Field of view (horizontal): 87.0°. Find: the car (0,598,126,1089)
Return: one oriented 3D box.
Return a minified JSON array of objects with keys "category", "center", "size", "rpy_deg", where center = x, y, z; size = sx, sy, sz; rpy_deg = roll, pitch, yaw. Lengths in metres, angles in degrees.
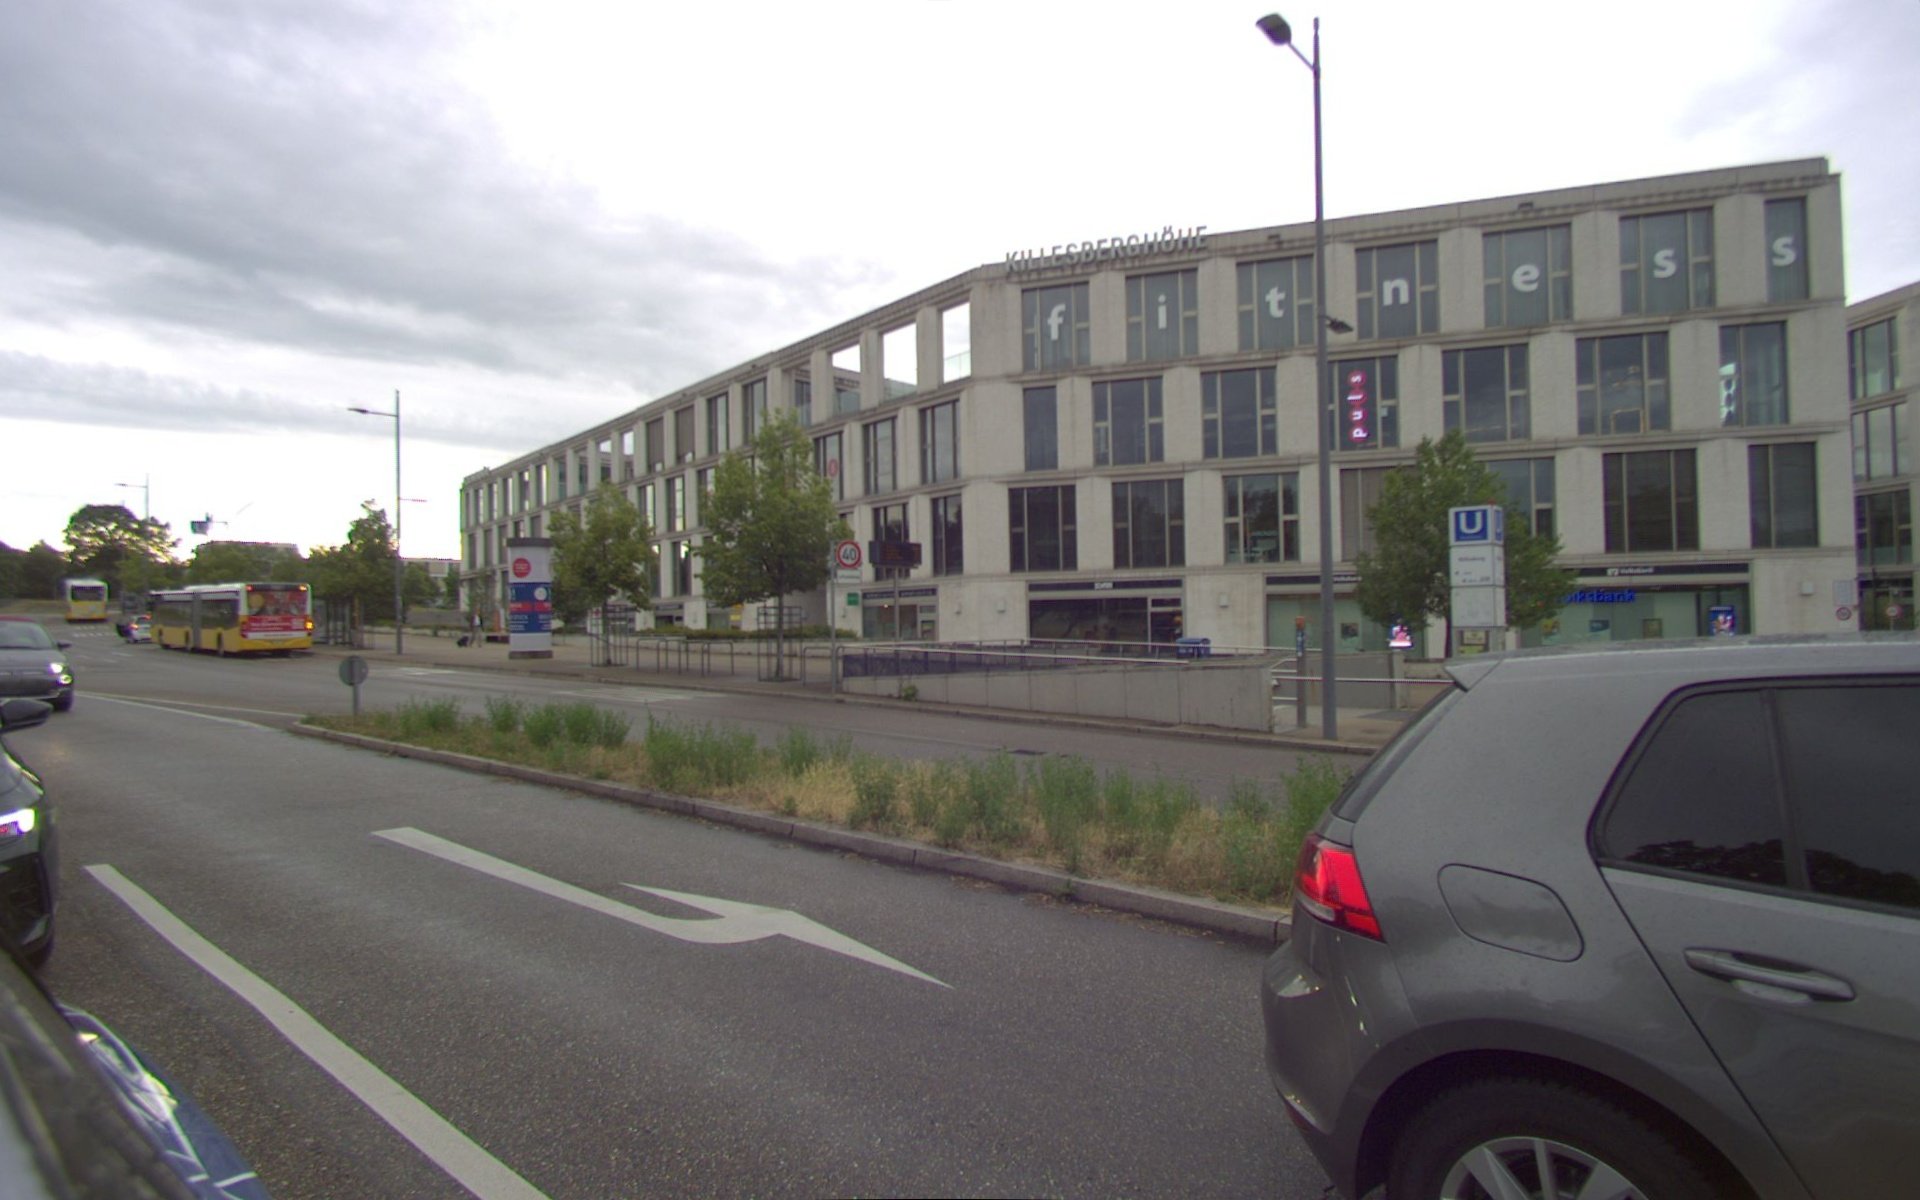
[{"category":"car","center":[-5.104,0.762,4.136],"size":[4.766,1.476,1.877],"rpy_deg":[-1,0,41]}]

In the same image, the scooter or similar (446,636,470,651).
[{"category":"scooter or similar","center":[-22.225,1.936,44.801],"size":[0.832,0.656,0.633],"rpy_deg":[-1,-2,38]}]

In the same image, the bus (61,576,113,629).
[{"category":"bus","center":[-76.442,0.267,88.861],"size":[2.717,4.185,19.383],"rpy_deg":[-1,0,-39]}]

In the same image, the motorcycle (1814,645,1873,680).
[{"category":"motorcycle","center":[20.428,1.437,23.419],"size":[0.517,0.746,1.098],"rpy_deg":[-1,0,9]}]

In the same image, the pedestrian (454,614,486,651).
[{"category":"pedestrian","center":[-21.647,1.431,44.720],"size":[0.981,1.593,0.857],"rpy_deg":[-1,0,33]}]

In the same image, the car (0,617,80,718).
[{"category":"car","center":[-15.635,1.032,16.244],"size":[3.501,1.492,1.611],"rpy_deg":[-1,-1,38]}]

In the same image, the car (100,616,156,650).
[{"category":"car","center":[-47.331,1.836,57.527],"size":[3.998,1.800,1.843],"rpy_deg":[-1,0,41]}]

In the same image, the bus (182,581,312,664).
[{"category":"bus","center":[-31.129,0.919,43.971],"size":[9.206,3.236,2.723],"rpy_deg":[-1,0,43]}]

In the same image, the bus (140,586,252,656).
[{"category":"bus","center":[-38.155,0.988,50.378],"size":[9.911,3.205,2.658],"rpy_deg":[-1,0,42]}]

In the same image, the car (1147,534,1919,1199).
[{"category":"car","center":[2.631,0.652,1.451],"size":[4.376,1.492,1.796],"rpy_deg":[-1,-2,42]}]

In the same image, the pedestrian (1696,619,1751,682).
[{"category":"pedestrian","center":[19.732,1.291,26.186],"size":[0.907,1.617,0.760],"rpy_deg":[-1,-1,18]}]
